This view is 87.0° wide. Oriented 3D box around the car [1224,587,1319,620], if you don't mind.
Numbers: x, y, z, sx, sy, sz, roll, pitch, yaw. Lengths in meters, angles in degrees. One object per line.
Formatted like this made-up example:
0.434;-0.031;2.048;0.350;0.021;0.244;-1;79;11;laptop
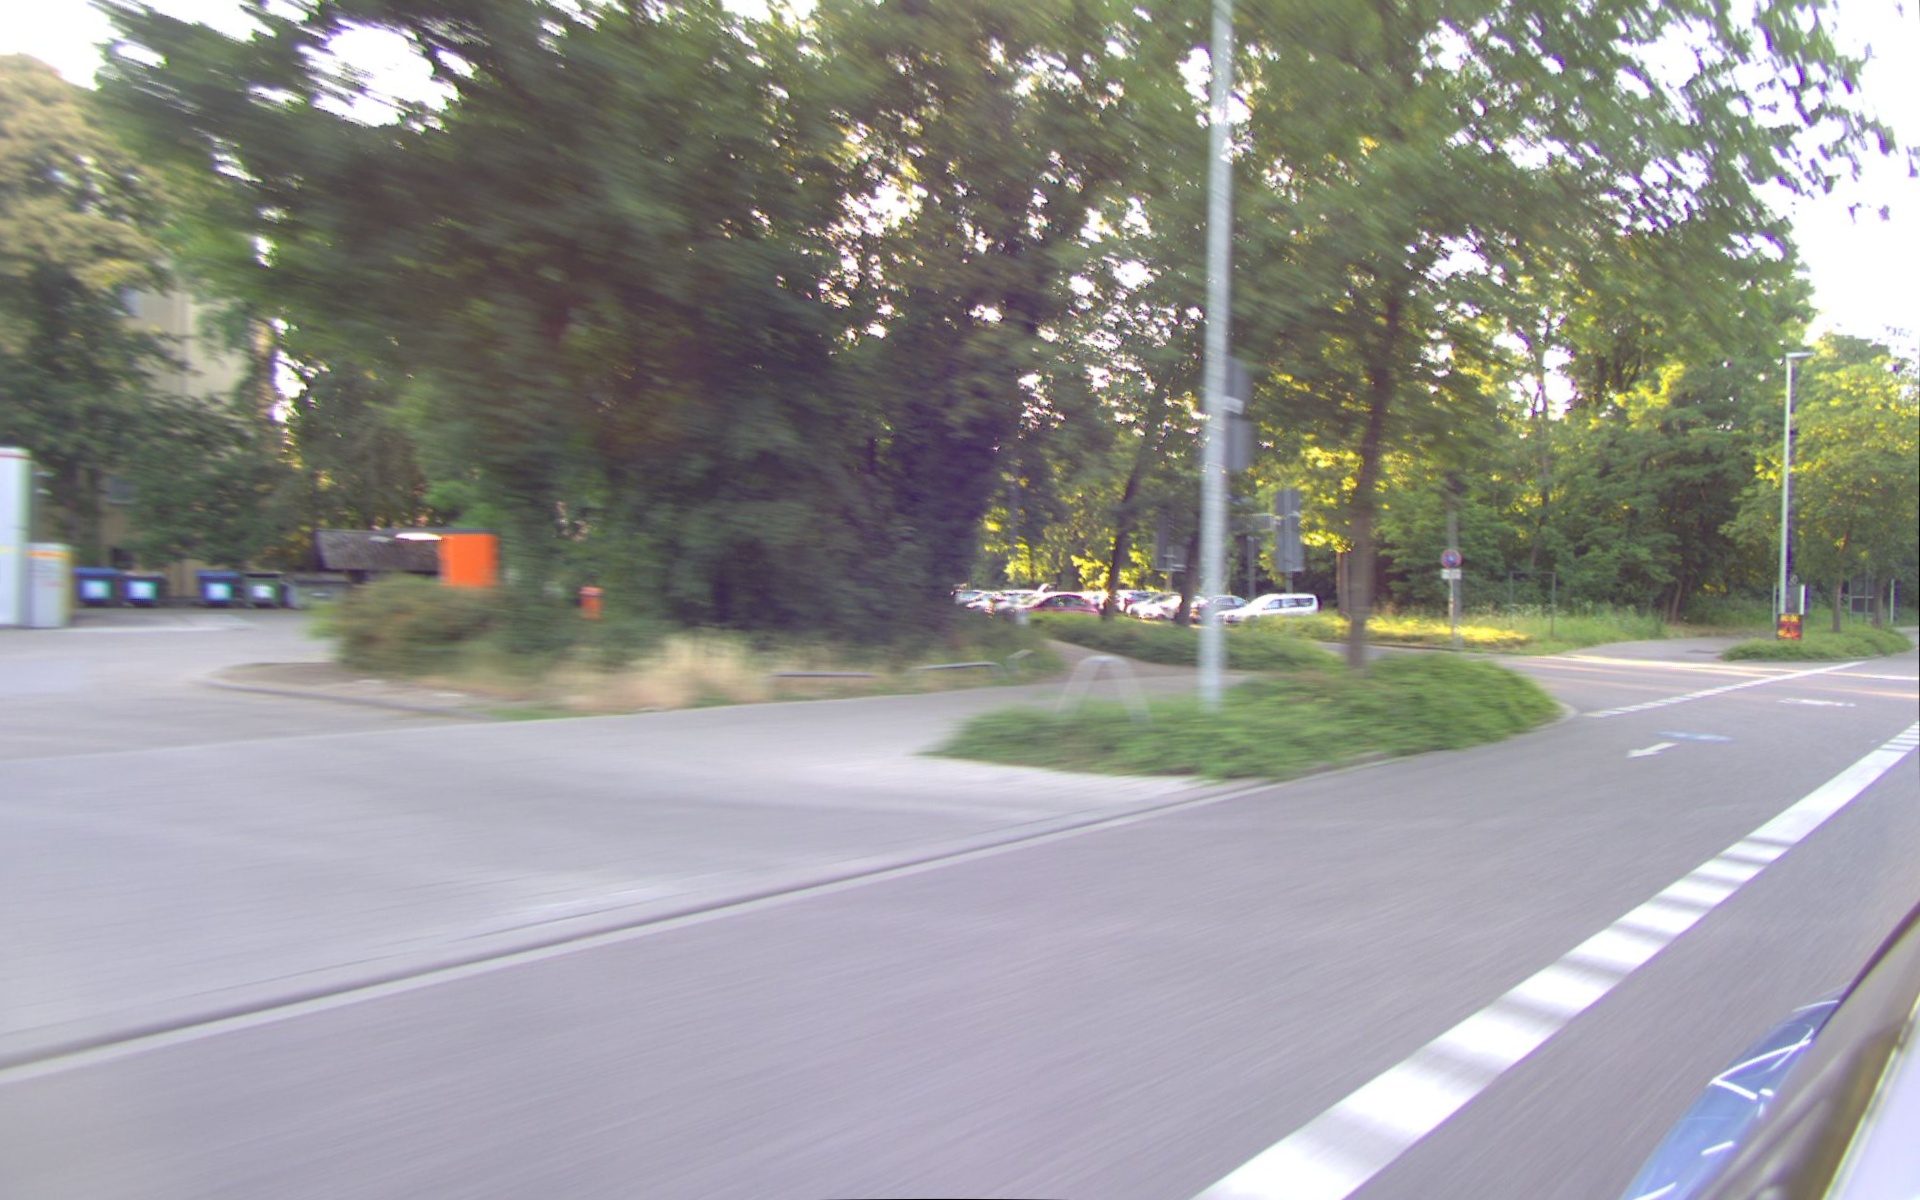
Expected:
14.416;0.157;46.964;3.916;1.414;1.544;1;1;-11;car

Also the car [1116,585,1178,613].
11.960;-0.056;64.817;3.567;1.683;1.544;1;1;-11;car

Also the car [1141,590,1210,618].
12.547;0.227;59.008;3.567;1.563;1.544;1;1;-11;car

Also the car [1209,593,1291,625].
14.339;0.418;50.104;3.567;1.500;1.544;1;1;-11;car

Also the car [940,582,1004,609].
0.693;-0.270;60.390;3.569;1.570;1.544;1;1;-7;car

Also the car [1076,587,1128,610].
10.787;-0.144;77.032;3.567;1.683;1.544;1;1;-11;car

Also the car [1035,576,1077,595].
8.862;-1.302;93.246;3.569;1.683;1.544;1;1;-7;car

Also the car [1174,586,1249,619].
13.571;0.133;54.665;3.567;1.728;1.544;1;1;-11;car

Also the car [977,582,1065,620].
2.777;0.043;46.568;3.762;1.667;1.544;1;1;-7;car

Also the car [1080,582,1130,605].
11.293;-0.501;78.883;3.567;1.683;1.544;1;1;-11;car

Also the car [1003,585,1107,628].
3.683;0.239;39.547;3.762;1.605;1.544;1;1;-7;car

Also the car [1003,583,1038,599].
6.517;-0.936;109.114;3.569;1.683;1.544;1;1;-7;car

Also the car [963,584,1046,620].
2.135;0.081;48.677;3.762;1.667;1.544;1;1;-7;car

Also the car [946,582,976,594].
0.099;-1.681;144.798;4.028;1.565;1.697;-1;1;-7;car

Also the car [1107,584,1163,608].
12.492;-0.304;72.346;3.567;1.683;1.544;1;1;-11;car

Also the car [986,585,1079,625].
3.115;0.205;43.870;3.762;1.667;1.544;1;1;-7;car

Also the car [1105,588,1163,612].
11.983;0.014;69.739;3.567;1.563;1.544;1;1;-11;car

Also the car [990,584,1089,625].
3.220;0.182;41.353;3.762;1.605;1.544;1;1;-7;car

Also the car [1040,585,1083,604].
9.115;-0.499;91.335;3.569;1.683;1.544;1;1;-7;car

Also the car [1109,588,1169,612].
11.871;-0.003;67.281;3.567;1.563;1.544;1;1;-11;car

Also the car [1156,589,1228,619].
12.948;0.213;56.609;3.567;1.563;1.544;1;1;-11;car

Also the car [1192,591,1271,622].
13.962;0.327;52.134;3.567;1.500;1.544;1;1;-11;car

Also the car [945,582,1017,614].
1.194;-0.123;58.282;3.913;1.667;1.544;2;1;-7;car

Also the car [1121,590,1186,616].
11.966;0.187;62.656;3.567;1.563;1.544;1;1;-11;car
